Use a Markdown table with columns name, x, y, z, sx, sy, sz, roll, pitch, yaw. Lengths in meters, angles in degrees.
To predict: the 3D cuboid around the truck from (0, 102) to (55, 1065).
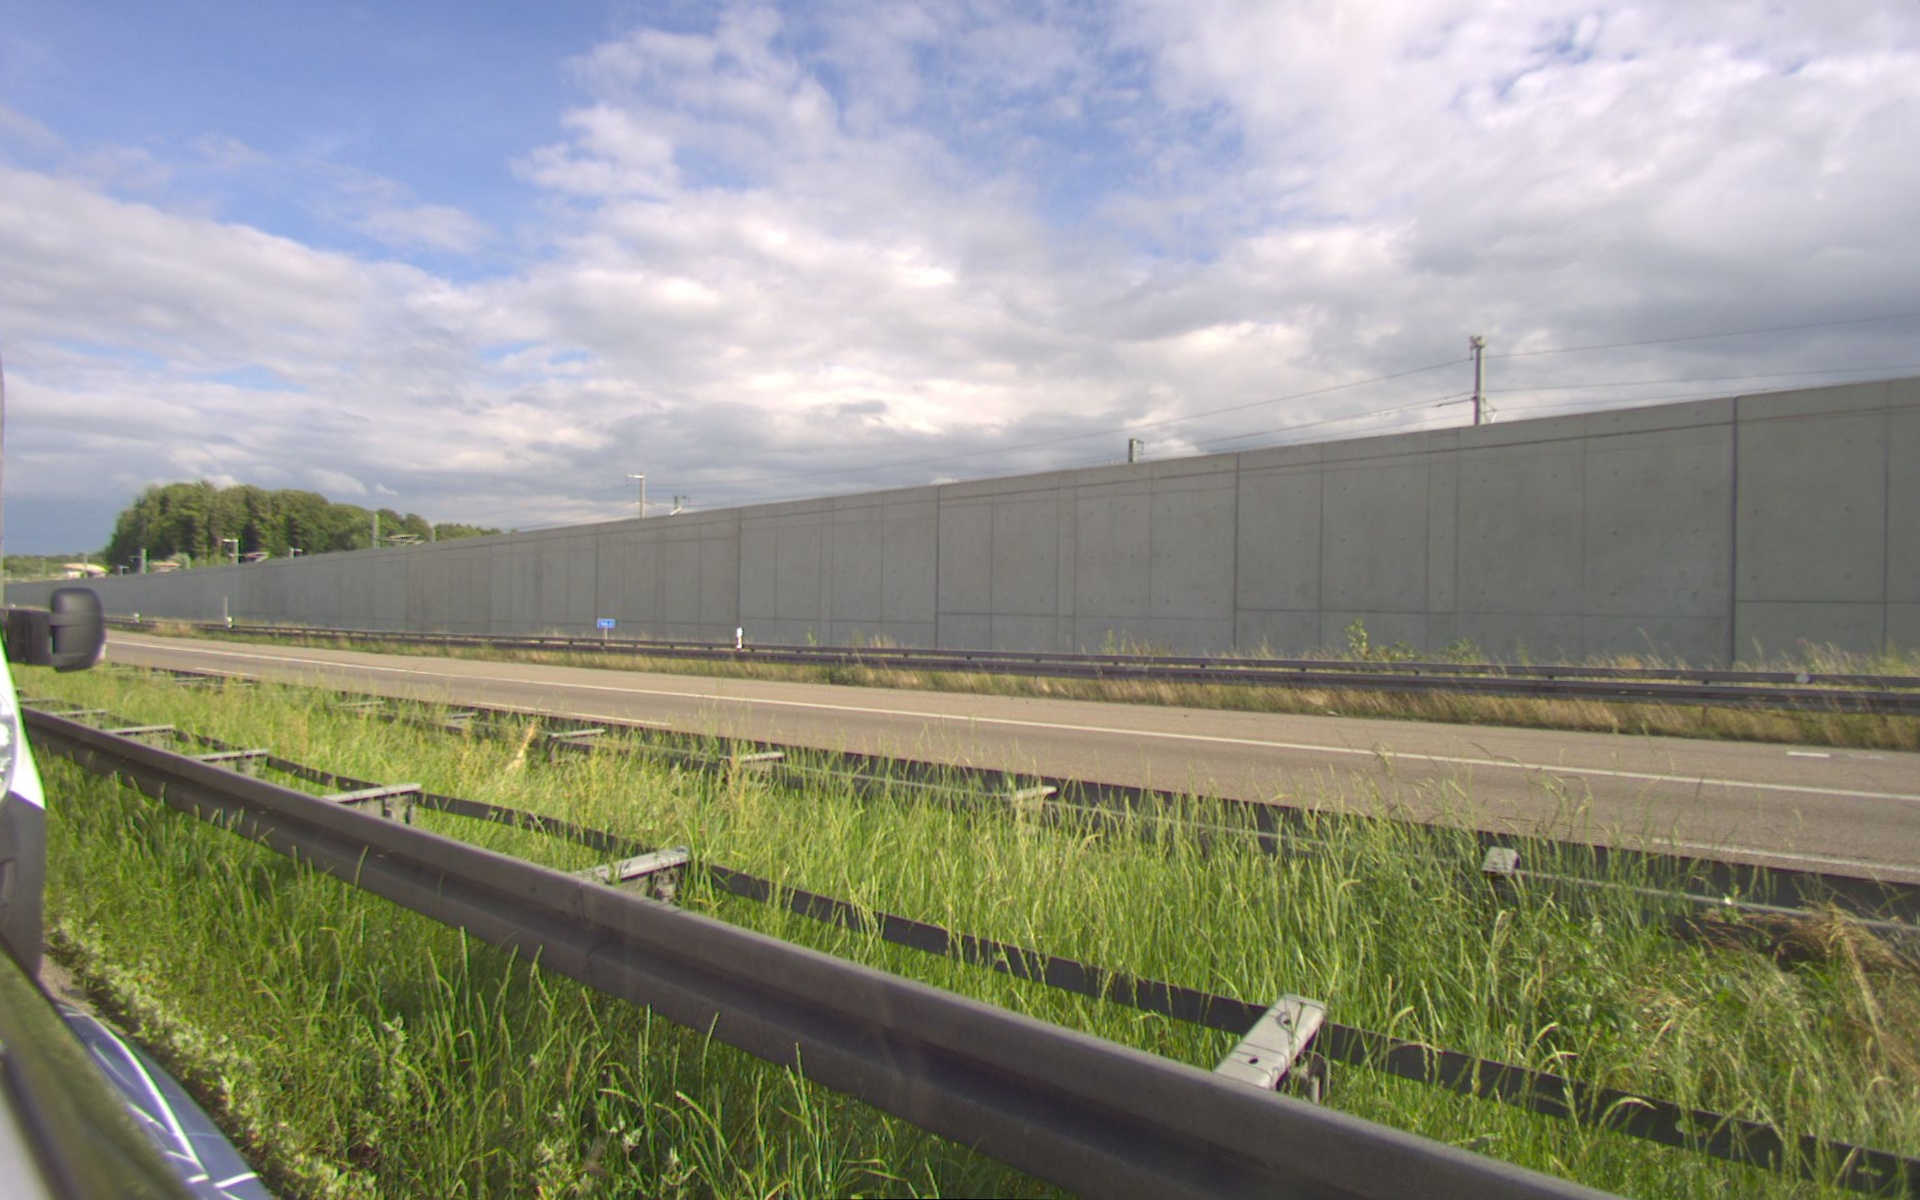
| name | x | y | z | sx | sy | sz | roll | pitch | yaw |
| --- | --- | --- | --- | --- | --- | --- | --- | --- | --- |
| truck | -6.624 | -0.021 | 5.188 | 7.800 | 3.129 | 2.033 | -1 | 0 | 41 |
